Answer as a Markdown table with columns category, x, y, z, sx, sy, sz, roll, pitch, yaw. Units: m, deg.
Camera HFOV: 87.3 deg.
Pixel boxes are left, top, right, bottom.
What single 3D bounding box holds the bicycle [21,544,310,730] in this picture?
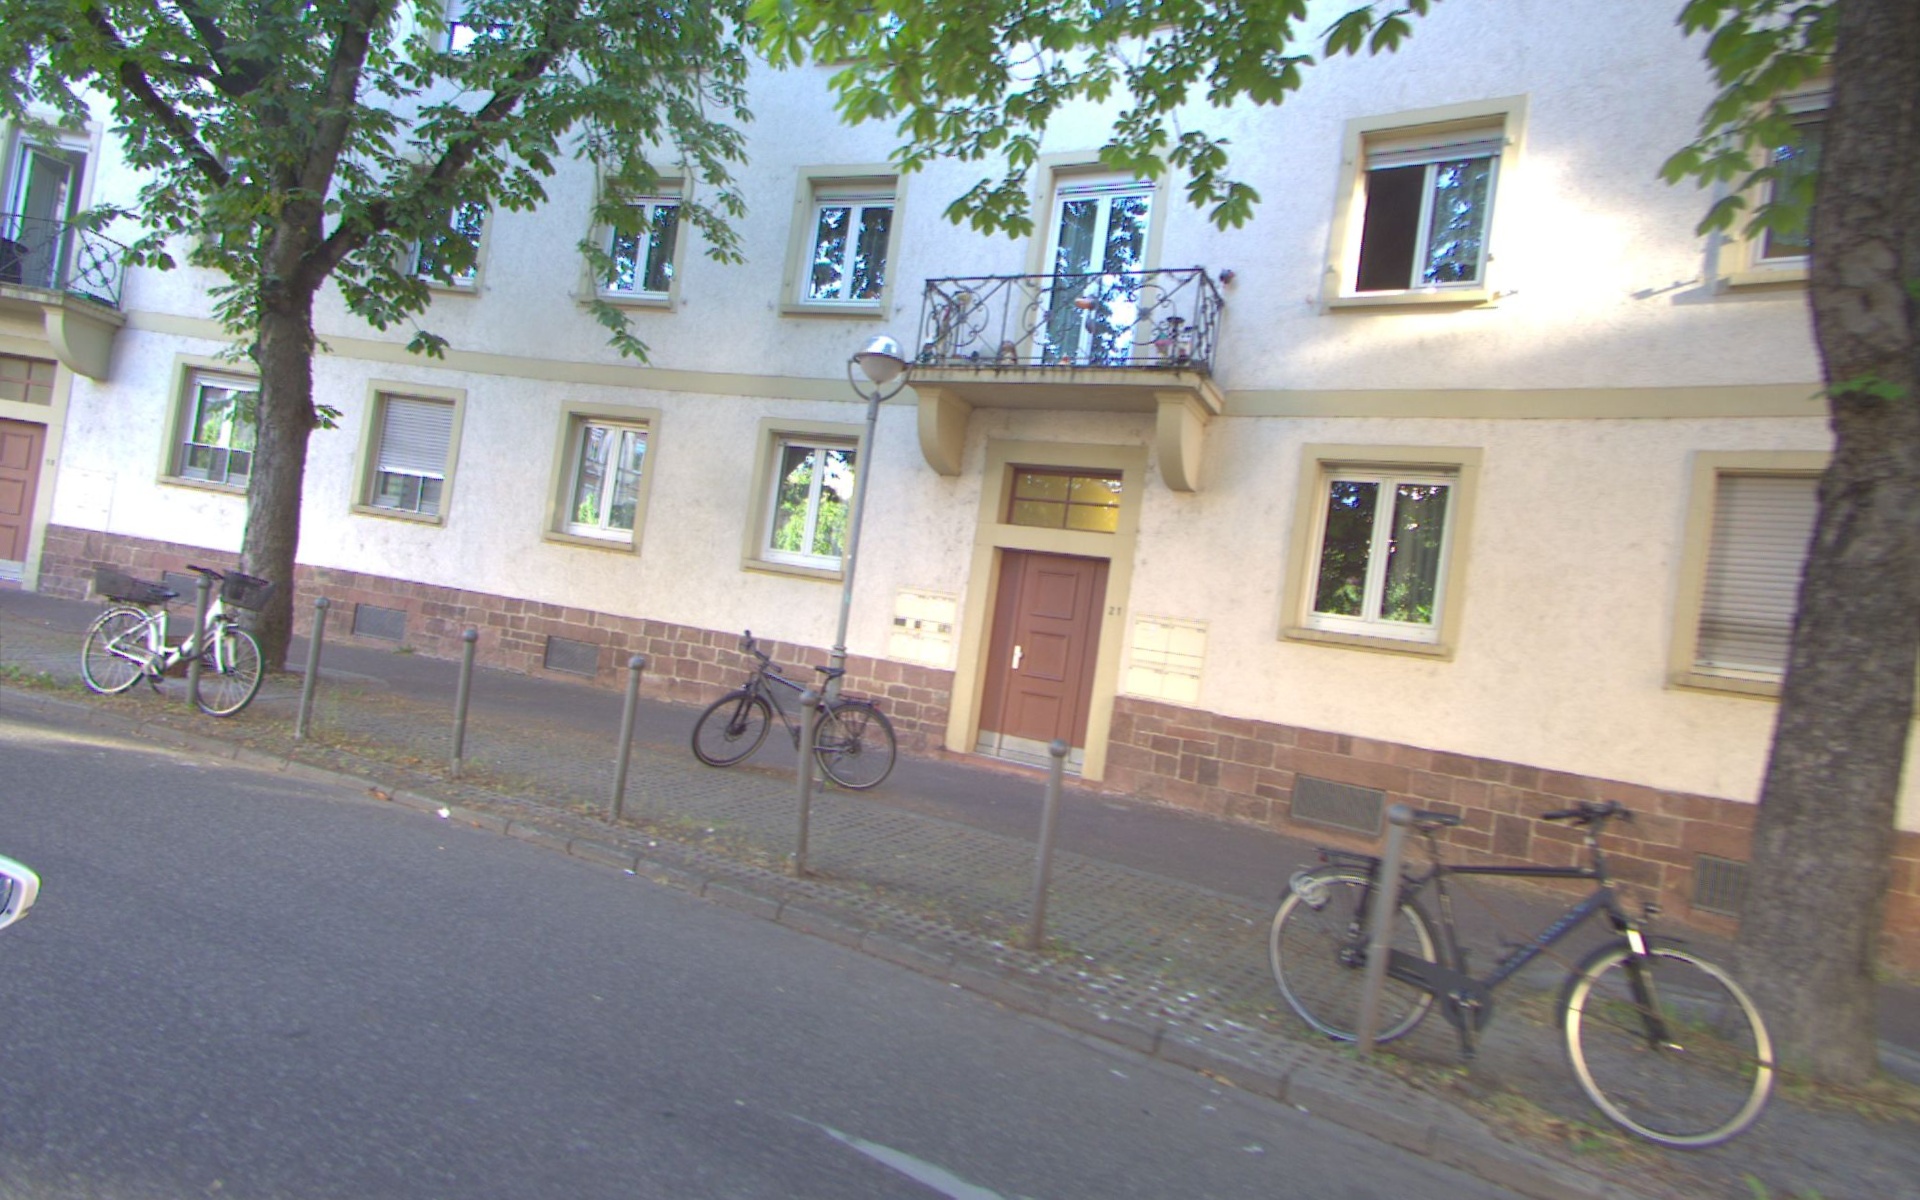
| category | x | y | z | sx | sy | sz | roll | pitch | yaw |
| --- | --- | --- | --- | --- | --- | --- | --- | --- | --- |
| bicycle | -6.237 | 0.266 | 7.911 | 1.954 | 1.127 | 0.618 | 8 | 2 | 13 |

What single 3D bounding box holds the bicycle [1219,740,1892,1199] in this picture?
| category | x | y | z | sx | sy | sz | roll | pitch | yaw |
| --- | --- | --- | --- | --- | --- | --- | --- | --- | --- |
| bicycle | 2.141 | 1.307 | 3.905 | 1.968 | 1.172 | 0.680 | 7 | -1 | 33 |

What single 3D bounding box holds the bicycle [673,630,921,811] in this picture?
| category | x | y | z | sx | sy | sz | roll | pitch | yaw |
| --- | --- | --- | --- | --- | --- | --- | --- | --- | --- |
| bicycle | -1.300 | 0.950 | 8.227 | 1.787 | 1.197 | 0.673 | 7 | 1 | 3 |
